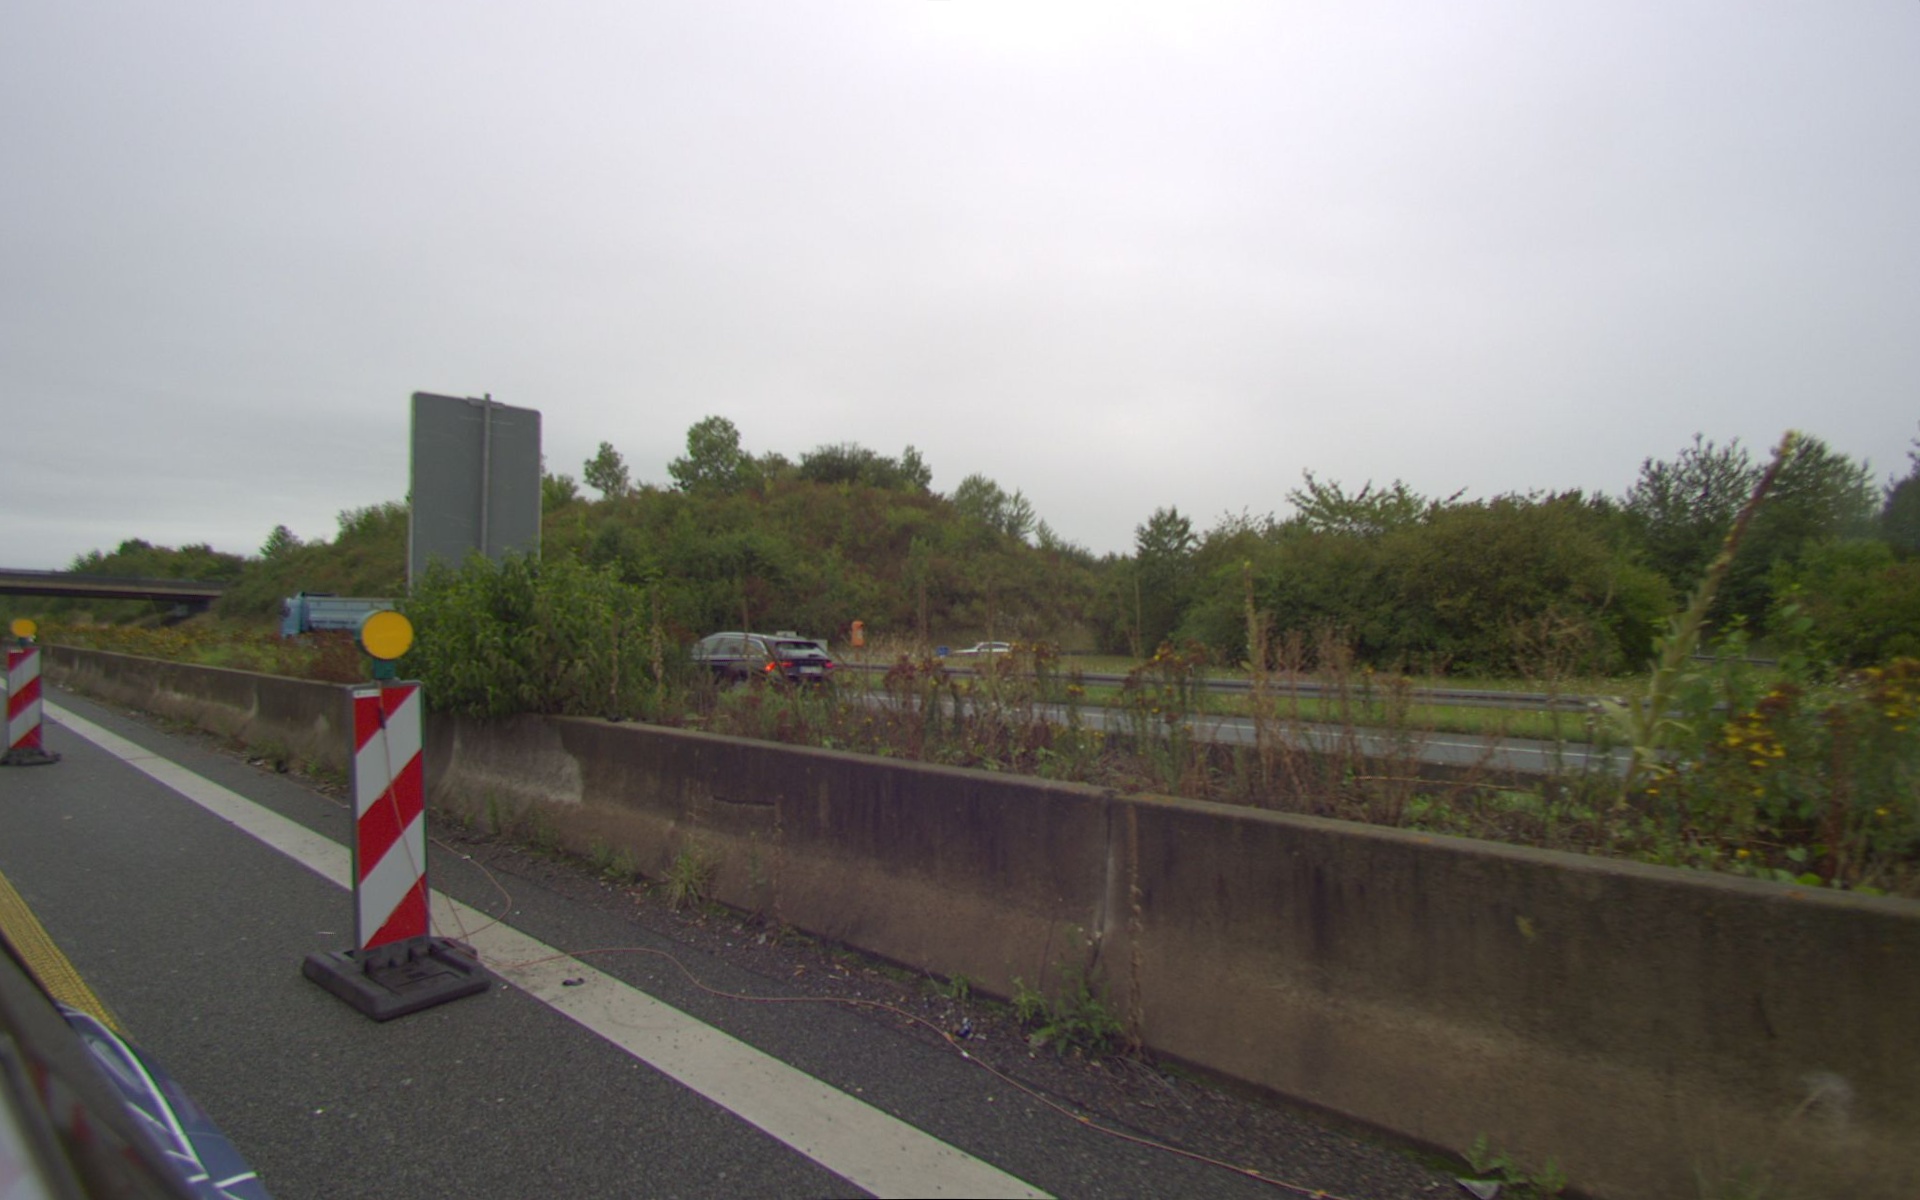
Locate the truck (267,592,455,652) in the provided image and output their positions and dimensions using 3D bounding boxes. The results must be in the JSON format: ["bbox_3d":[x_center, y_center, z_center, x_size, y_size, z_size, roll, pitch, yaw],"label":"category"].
[{"bbox_3d":[-39.072,1.456,65.756,14.497,3.647,2.876,-1,-3,25],"label":"truck"}]

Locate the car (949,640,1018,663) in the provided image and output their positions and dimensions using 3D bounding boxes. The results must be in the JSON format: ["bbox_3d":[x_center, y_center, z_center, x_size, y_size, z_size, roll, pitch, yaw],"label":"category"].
[{"bbox_3d":[1.468,3.257,64.041,3.931,1.414,1.926,2,-2,-27],"label":"car"}]

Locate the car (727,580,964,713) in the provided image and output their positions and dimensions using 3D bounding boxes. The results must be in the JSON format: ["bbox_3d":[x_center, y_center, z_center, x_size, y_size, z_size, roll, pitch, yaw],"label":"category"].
[{"bbox_3d":[-2.069,0.717,17.625,4.000,2.029,1.972,0,0,42],"label":"car"}]
